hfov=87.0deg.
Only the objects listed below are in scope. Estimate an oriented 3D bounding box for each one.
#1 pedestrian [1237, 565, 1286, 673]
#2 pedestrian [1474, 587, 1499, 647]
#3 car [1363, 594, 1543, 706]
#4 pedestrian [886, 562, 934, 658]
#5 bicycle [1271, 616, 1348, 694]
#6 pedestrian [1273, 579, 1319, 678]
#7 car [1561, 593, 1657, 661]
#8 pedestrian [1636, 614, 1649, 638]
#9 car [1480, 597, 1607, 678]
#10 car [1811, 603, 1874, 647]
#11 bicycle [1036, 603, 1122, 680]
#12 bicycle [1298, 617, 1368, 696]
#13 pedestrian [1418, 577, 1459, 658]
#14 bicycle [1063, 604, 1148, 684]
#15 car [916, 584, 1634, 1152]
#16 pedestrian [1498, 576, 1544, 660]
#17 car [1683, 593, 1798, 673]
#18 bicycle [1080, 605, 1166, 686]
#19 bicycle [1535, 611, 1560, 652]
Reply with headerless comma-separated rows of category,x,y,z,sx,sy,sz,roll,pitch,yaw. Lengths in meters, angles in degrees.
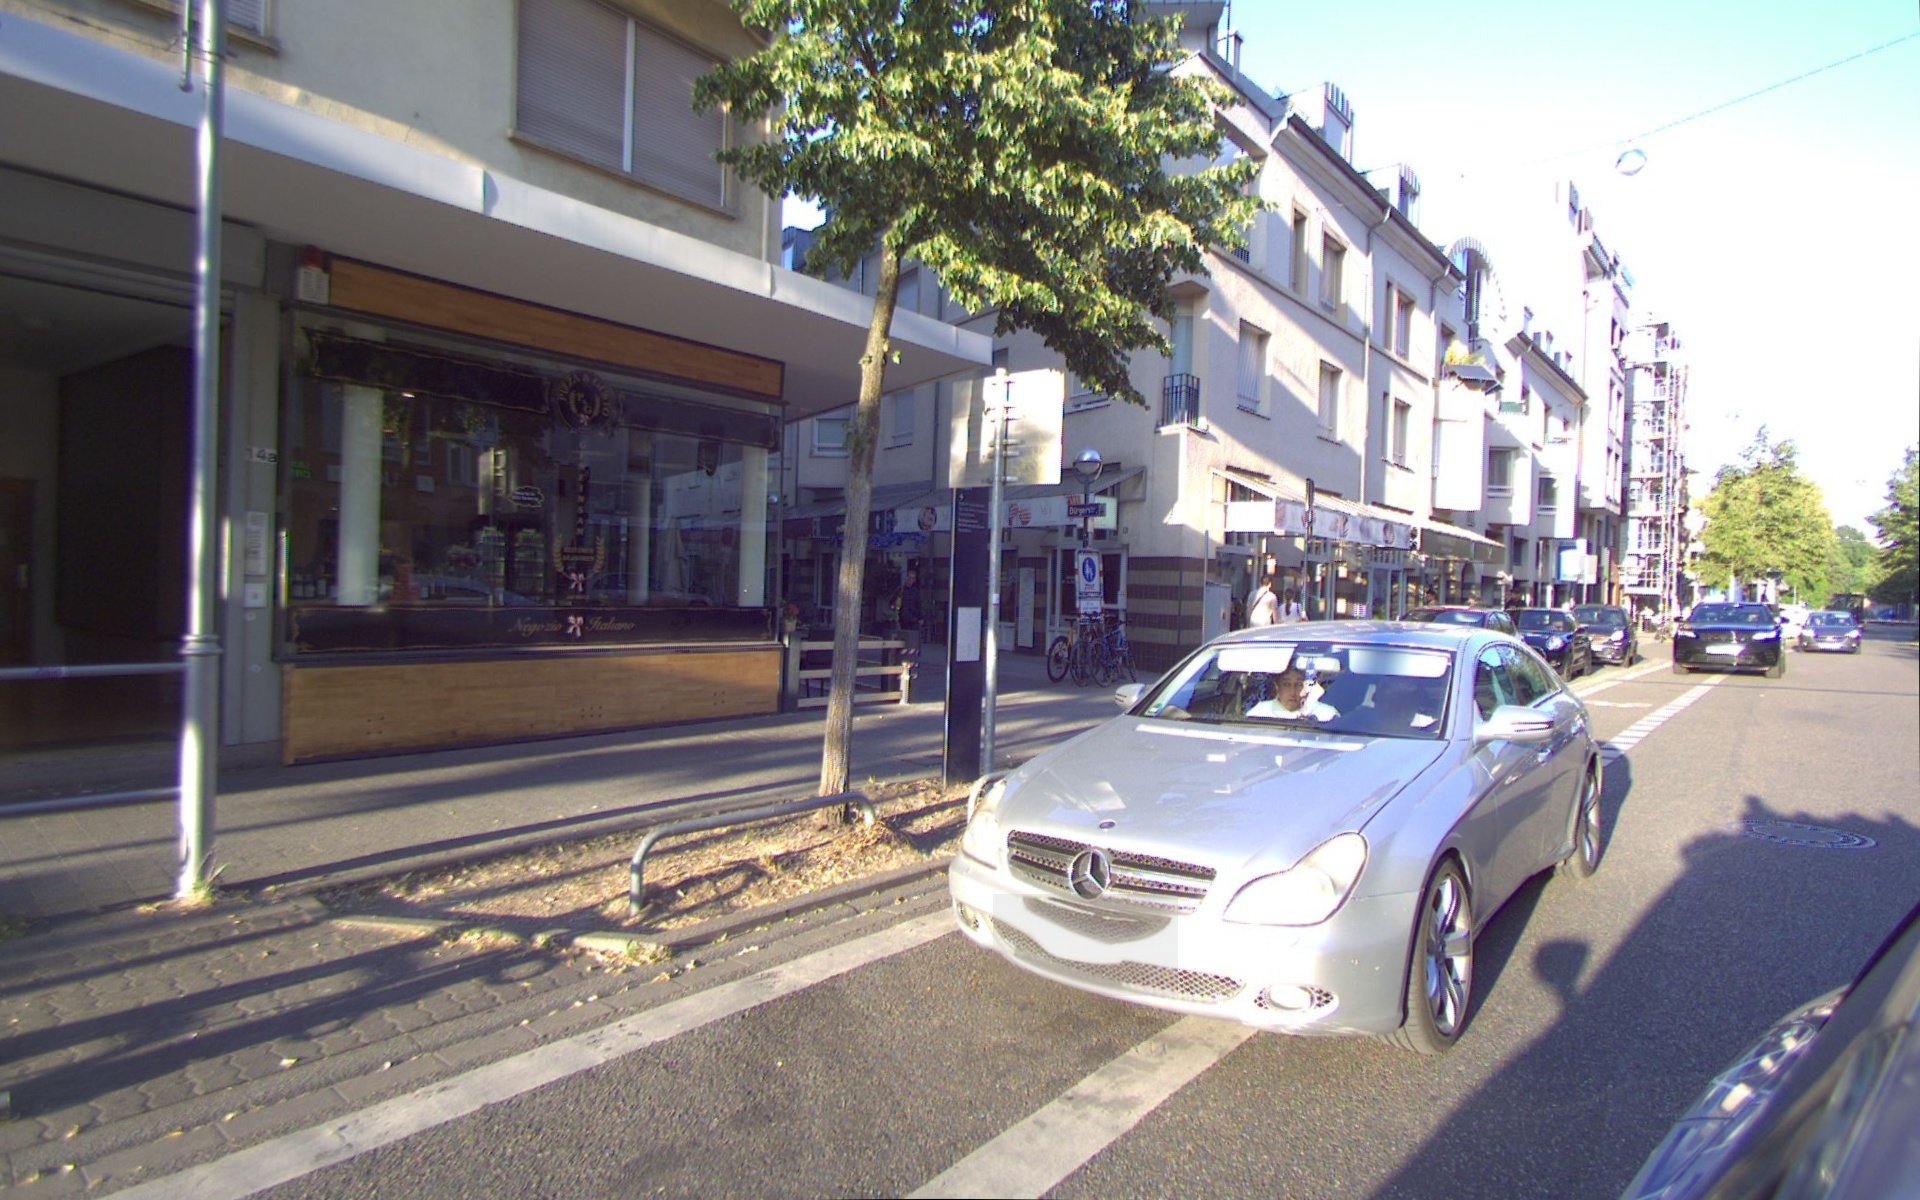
pedestrian,5.171,0.316,17.352,0.543,1.779,0.495,5,3,41
pedestrian,16.095,0.520,30.924,0.574,1.823,0.443,0,0,42
car,7.773,0.688,15.772,1.587,1.451,3.868,4,2,40
pedestrian,-0.934,0.171,18.766,0.688,1.696,0.799,2,2,-13
bicycle,5.222,0.785,15.055,0.314,1.059,1.853,3,2,43
pedestrian,5.688,0.467,17.124,0.519,1.612,0.402,5,3,41
car,17.133,0.648,26.654,1.615,1.612,3.868,2,1,40
pedestrian,36.290,1.364,53.803,0.490,1.279,0.415,0,0,42
car,12.247,0.711,21.126,1.615,1.452,3.868,3,2,40
car,31.609,0.847,36.308,1.616,1.492,3.634,0,0,41
bicycle,1.873,0.612,15.716,0.320,1.118,1.851,2,1,41
bicycle,5.480,0.804,14.827,0.314,1.059,1.638,3,2,43
pedestrian,10.758,0.388,22.753,0.629,1.771,0.660,3,2,41
bicycle,2.237,0.640,15.395,0.290,1.118,1.859,2,1,41
car,1.967,0.669,4.969,1.740,1.418,4.573,0,2,40
pedestrian,13.056,0.415,23.566,0.776,1.907,0.660,-2,-2,41
car,17.952,0.689,23.219,1.884,1.656,4.165,0,0,41
bicycle,2.466,0.646,15.185,0.320,1.118,1.851,2,1,41
bicycle,16.232,0.859,27.942,0.295,1.099,1.441,1,1,41
